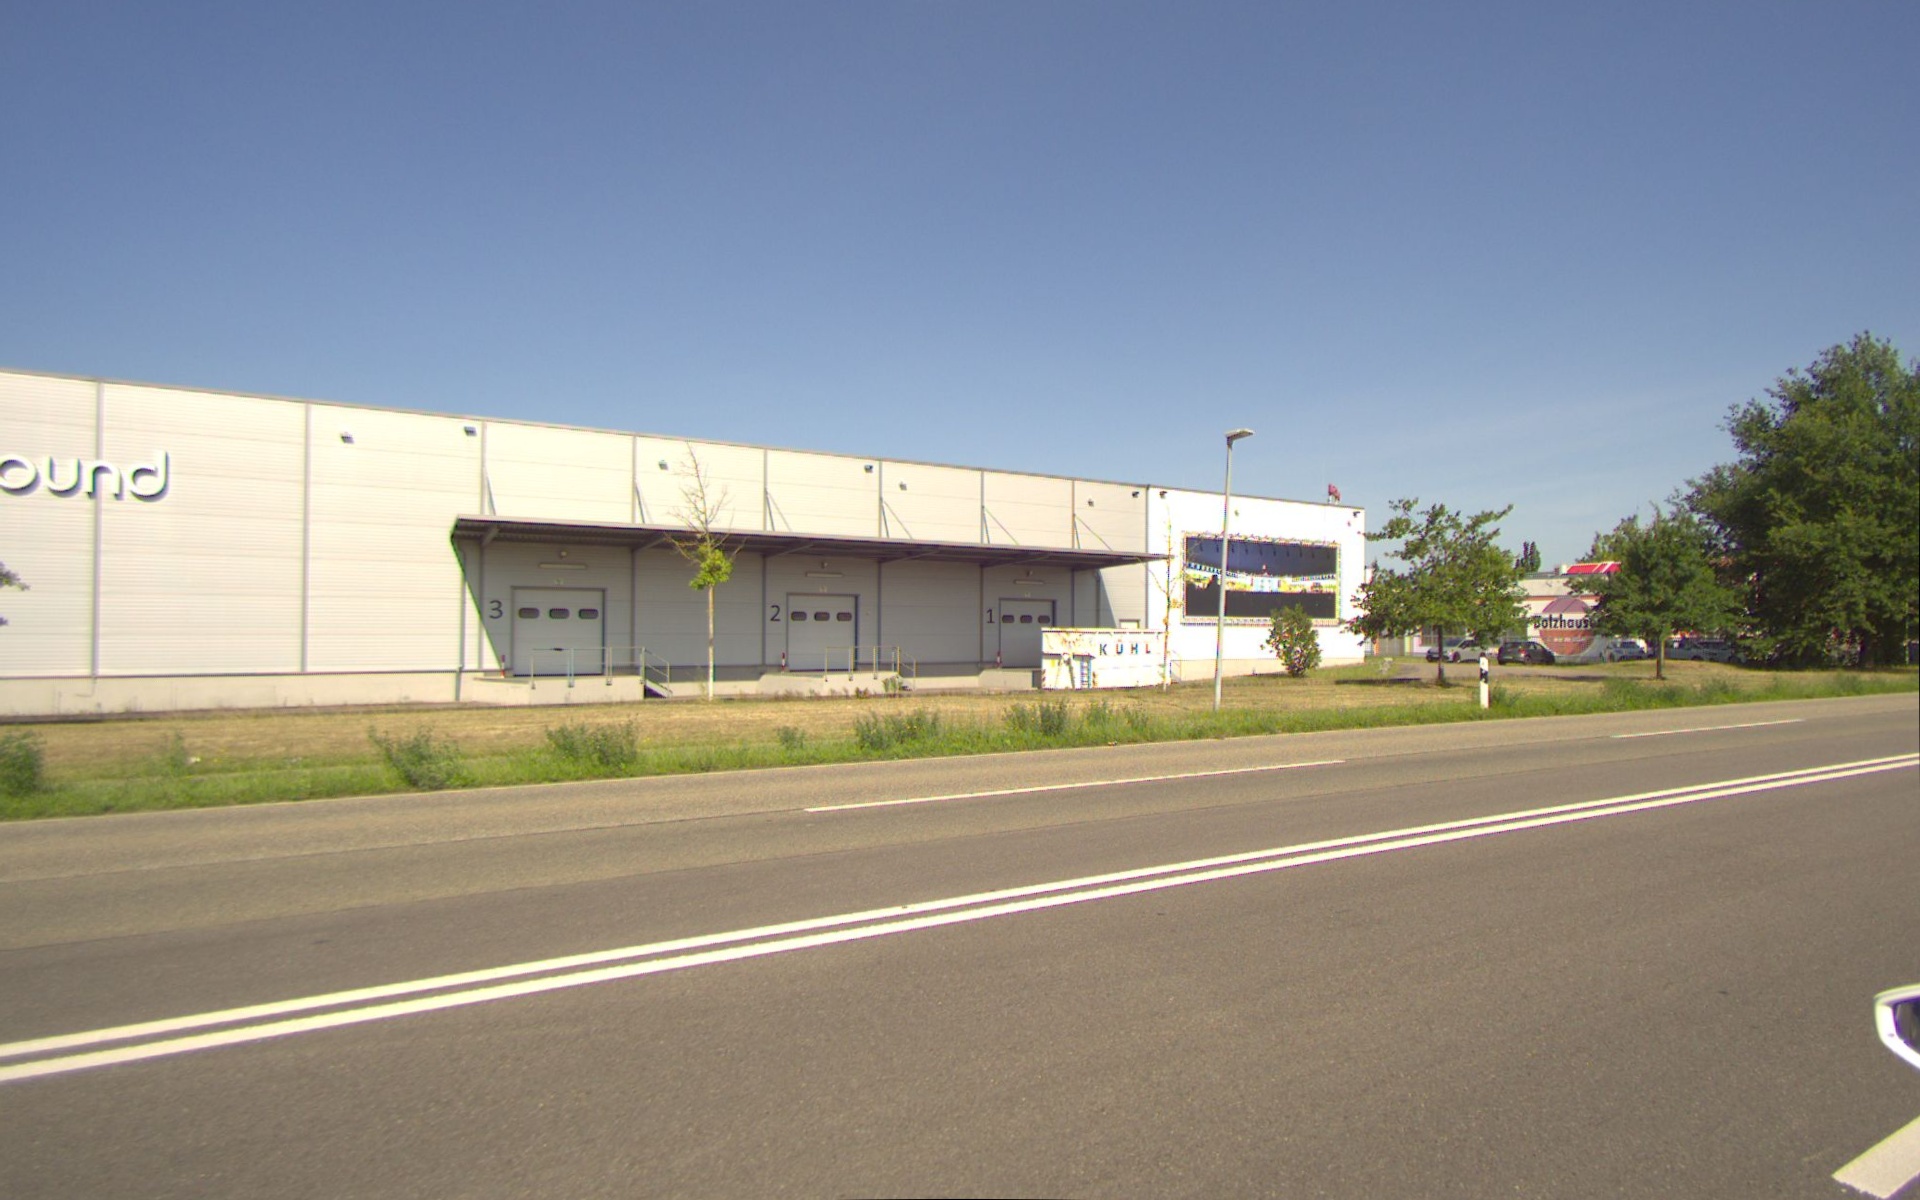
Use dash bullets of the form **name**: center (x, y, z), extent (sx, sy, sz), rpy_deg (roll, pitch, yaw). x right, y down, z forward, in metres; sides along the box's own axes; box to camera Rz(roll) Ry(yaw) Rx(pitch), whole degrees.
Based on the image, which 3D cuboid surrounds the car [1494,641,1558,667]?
- **car**: center (32.690, 3.114, 57.999), extent (3.680, 1.408, 1.628), rpy_deg (2, -2, -31)

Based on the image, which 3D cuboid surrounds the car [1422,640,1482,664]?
- **car**: center (30.420, 3.233, 62.079), extent (3.680, 1.429, 1.628), rpy_deg (2, -2, -31)

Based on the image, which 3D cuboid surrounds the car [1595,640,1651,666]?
- **car**: center (39.806, 3.175, 60.408), extent (1.705, 1.520, 4.002), rpy_deg (0, -2, 16)

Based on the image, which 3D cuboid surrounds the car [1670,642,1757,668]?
- **car**: center (46.800, 3.406, 62.449), extent (1.737, 1.520, 3.969), rpy_deg (1, -2, -30)

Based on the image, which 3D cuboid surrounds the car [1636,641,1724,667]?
- **car**: center (43.283, 3.212, 60.457), extent (1.737, 1.520, 3.969), rpy_deg (1, -2, -30)
